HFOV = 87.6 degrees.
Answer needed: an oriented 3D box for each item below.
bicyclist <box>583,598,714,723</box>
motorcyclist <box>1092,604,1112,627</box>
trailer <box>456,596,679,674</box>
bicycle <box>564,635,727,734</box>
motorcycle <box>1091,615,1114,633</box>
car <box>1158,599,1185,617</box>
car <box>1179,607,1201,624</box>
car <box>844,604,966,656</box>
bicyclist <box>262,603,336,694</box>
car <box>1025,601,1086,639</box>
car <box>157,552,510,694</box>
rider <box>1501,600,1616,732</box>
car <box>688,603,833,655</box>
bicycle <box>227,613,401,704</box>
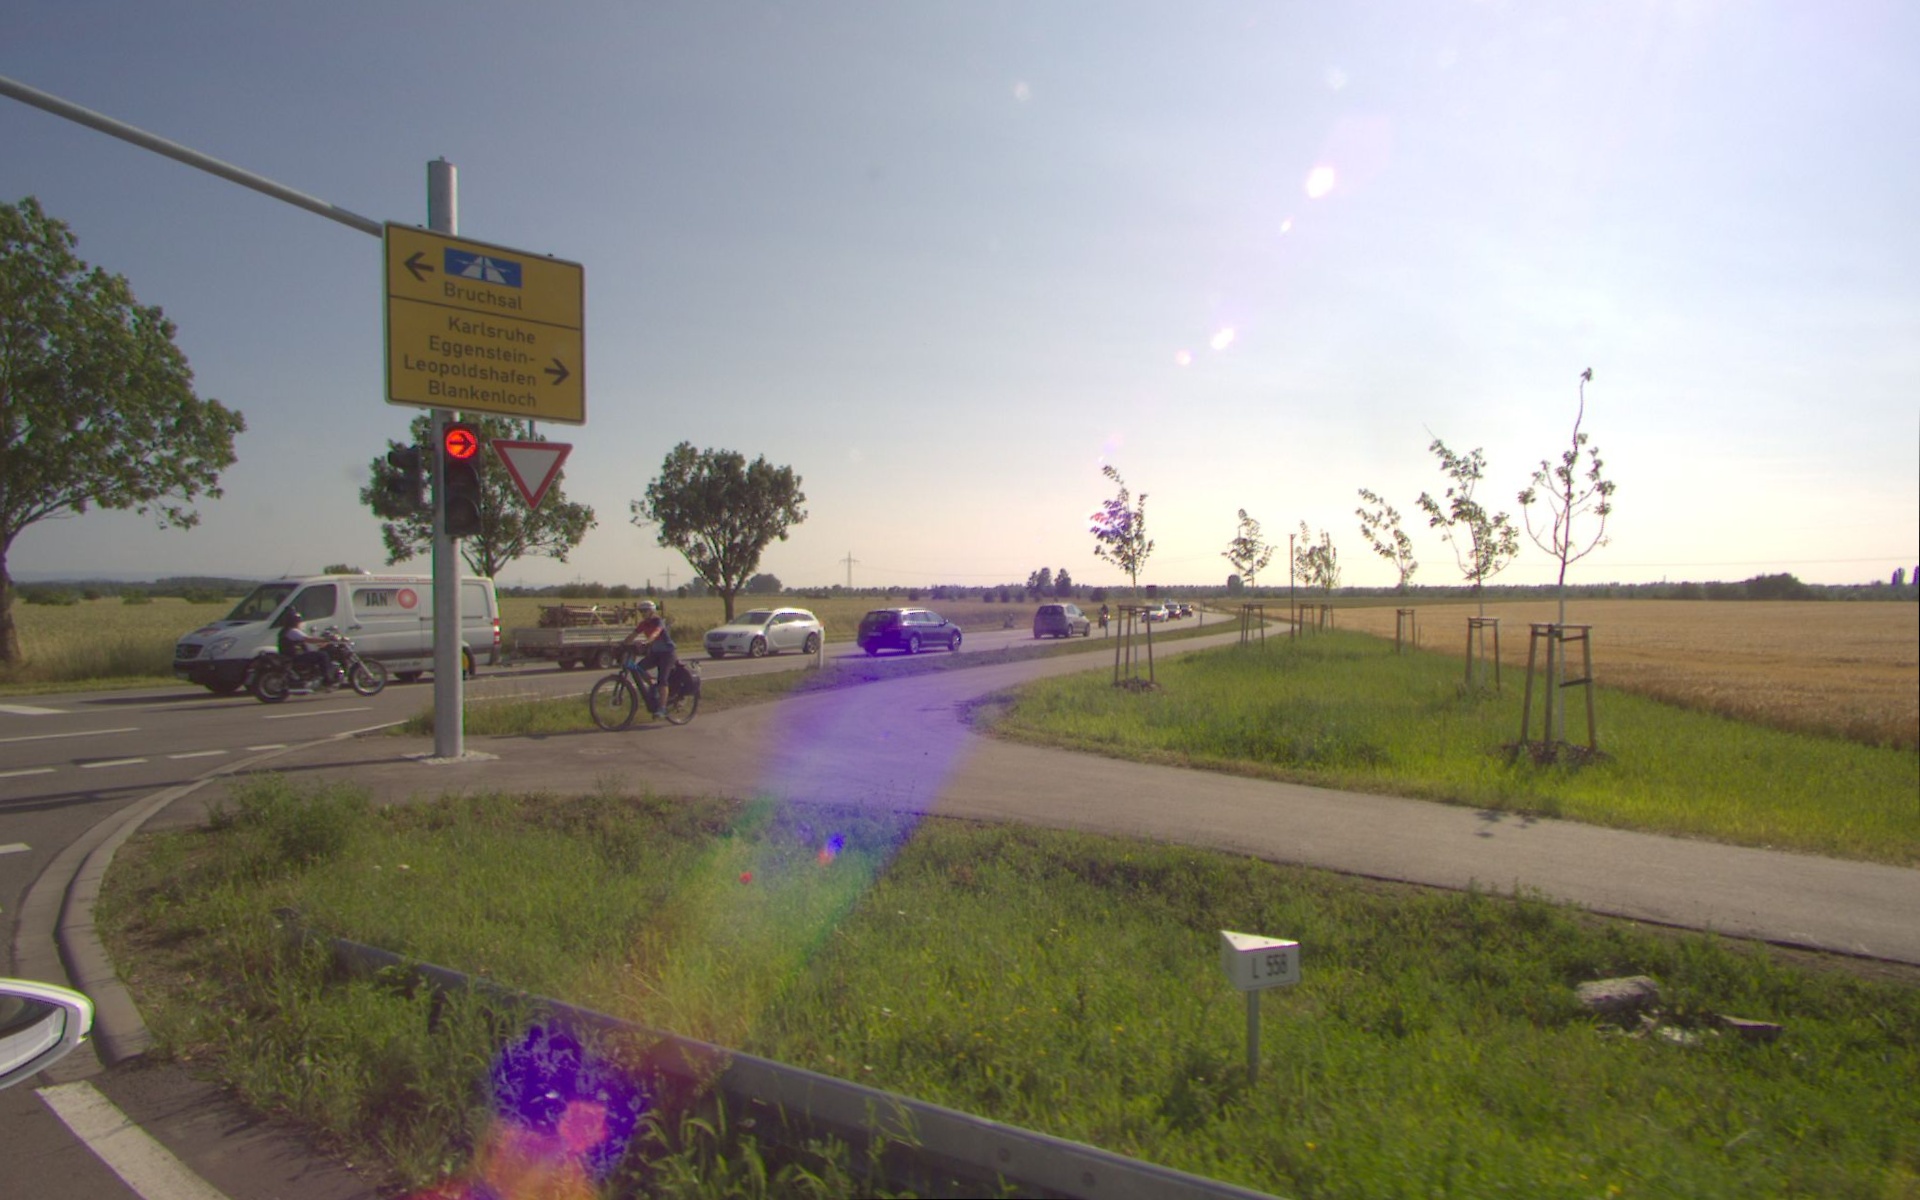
[{"bbox_3d":[-4.289,0.793,13.844,1.147,1.623,1.278,1,0,28],"label":"bicyclist"},{"bbox_3d":[9.486,1.022,66.777,1.013,1.479,1.067,1,-1,27],"label":"motorcyclist"},{"bbox_3d":[-9.837,0.811,25.601,1.925,1.776,5.252,0,0,30],"label":"trailer"},{"bbox_3d":[-4.263,1.108,13.773,0.876,1.201,2.154,-1,-1,28],"label":"bicycle"},{"bbox_3d":[9.503,1.620,66.816,0.836,1.133,2.140,1,-1,27],"label":"motorcycle"},{"bbox_3d":[20.005,0.796,94.495,1.985,1.609,4.876,1,0,18],"label":"car"},{"bbox_3d":[25.435,1.694,110.573,1.964,1.713,4.876,1,0,18],"label":"car"},{"bbox_3d":[-1.697,0.919,32.838,1.891,1.539,4.669,1,1,27],"label":"car"},{"bbox_3d":[-11.311,0.816,17.148,0.746,1.508,0.807,-1,-1,29],"label":"bicyclist"},{"bbox_3d":[4.504,0.959,46.659,1.734,1.689,3.959,-1,-2,23],"label":"car"},{"bbox_3d":[-12.649,0.402,20.798,1.971,2.526,5.947,-1,0,31],"label":"car"},{"bbox_3d":[7.927,0.846,13.283,0.973,1.665,0.819,1,2,-16],"label":"rider"},{"bbox_3d":[-6.285,0.944,32.136,1.969,1.529,4.867,-1,-2,28],"label":"car"},{"bbox_3d":[-11.166,0.969,17.437,0.721,1.415,2.489,-1,0,27],"label":"bicycle"}]
